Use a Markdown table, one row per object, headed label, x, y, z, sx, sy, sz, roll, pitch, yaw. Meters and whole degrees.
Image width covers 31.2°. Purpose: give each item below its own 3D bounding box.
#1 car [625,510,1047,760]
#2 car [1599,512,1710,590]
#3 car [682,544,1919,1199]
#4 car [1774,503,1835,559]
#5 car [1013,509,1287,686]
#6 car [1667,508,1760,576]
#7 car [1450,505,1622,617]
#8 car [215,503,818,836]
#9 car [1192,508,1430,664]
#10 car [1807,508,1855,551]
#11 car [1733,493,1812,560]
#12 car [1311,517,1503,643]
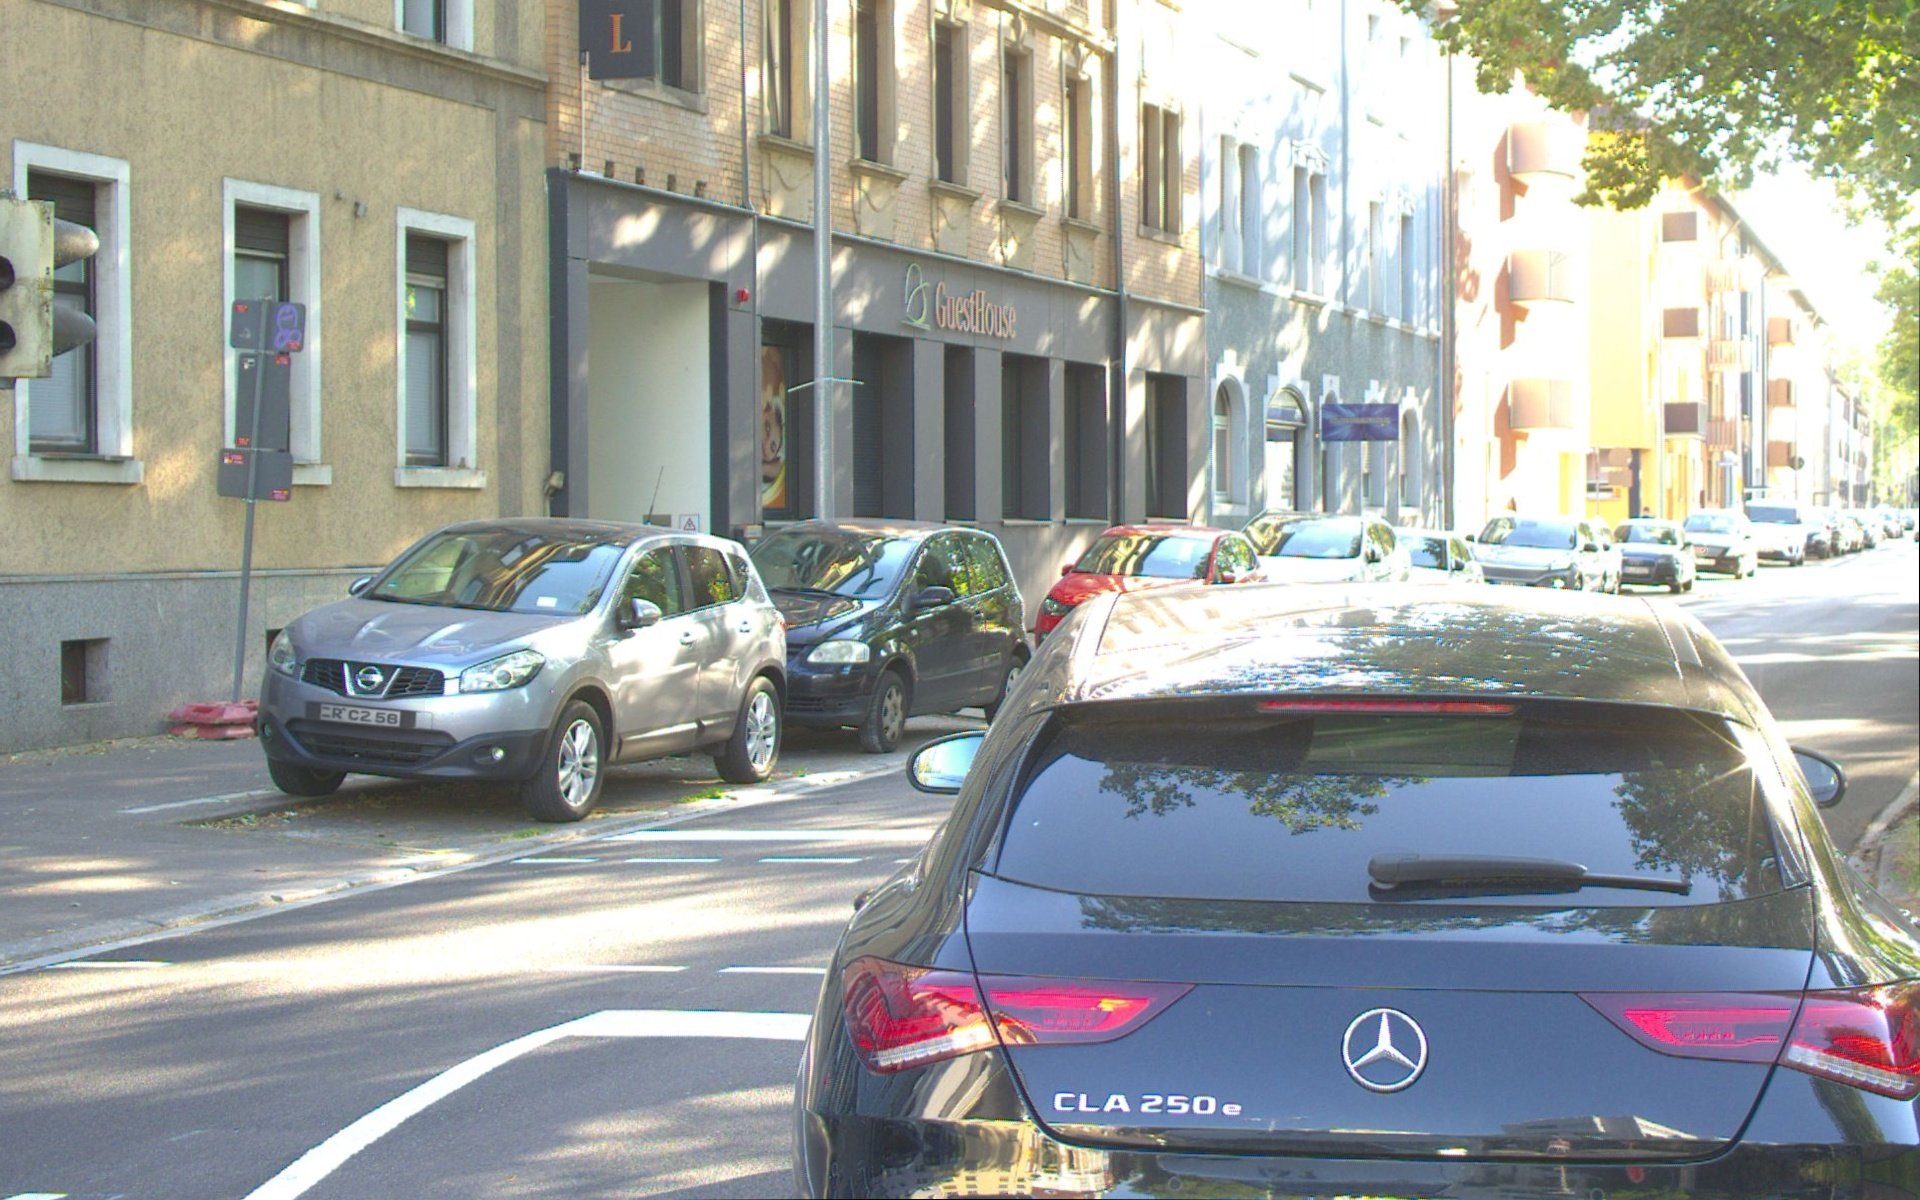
| label | x | y | z | sx | sy | sz | roll | pitch | yaw |
| --- | --- | --- | --- | --- | --- | --- | --- | --- | --- |
| car | -0.804 | 0.177 | 24.680 | 1.679 | 1.599 | 3.701 | 2 | 2 | 21 |
| car | 14.049 | -1.009 | 69.425 | 1.679 | 1.481 | 3.598 | 2 | 2 | 19 |
| car | 0.746 | 0.672 | 6.383 | 1.745 | 1.438 | 3.968 | 2 | 2 | 7 |
| car | 27.975 | -2.303 | 113.781 | 1.746 | 1.781 | 4.546 | 2 | 2 | 16 |
| car | 1.923 | -0.075 | 33.719 | 1.679 | 1.586 | 3.753 | 2 | 2 | 19 |
| car | 17.961 | -1.404 | 81.863 | 1.679 | 1.518 | 4.017 | 2 | 2 | 19 |
| car | 9.143 | -0.655 | 54.304 | 1.910 | 1.636 | 4.573 | 2 | 2 | 19 |
| car | -2.426 | 0.295 | 19.931 | 1.783 | 1.667 | 4.152 | 2 | 2 | 19 |
| car | 3.969 | -0.207 | 38.320 | 1.679 | 1.579 | 4.196 | 2 | 2 | 19 |
| car | 32.350 | -2.637 | 127.647 | 1.549 | 1.518 | 4.002 | 2 | 2 | 16 |
| car | 23.956 | -2.181 | 101.258 | 1.736 | 1.900 | 5.204 | 1 | 2 | 19 |
| car | 5.830 | -0.293 | 44.501 | 1.679 | 1.491 | 3.868 | 2 | 2 | 19 |
